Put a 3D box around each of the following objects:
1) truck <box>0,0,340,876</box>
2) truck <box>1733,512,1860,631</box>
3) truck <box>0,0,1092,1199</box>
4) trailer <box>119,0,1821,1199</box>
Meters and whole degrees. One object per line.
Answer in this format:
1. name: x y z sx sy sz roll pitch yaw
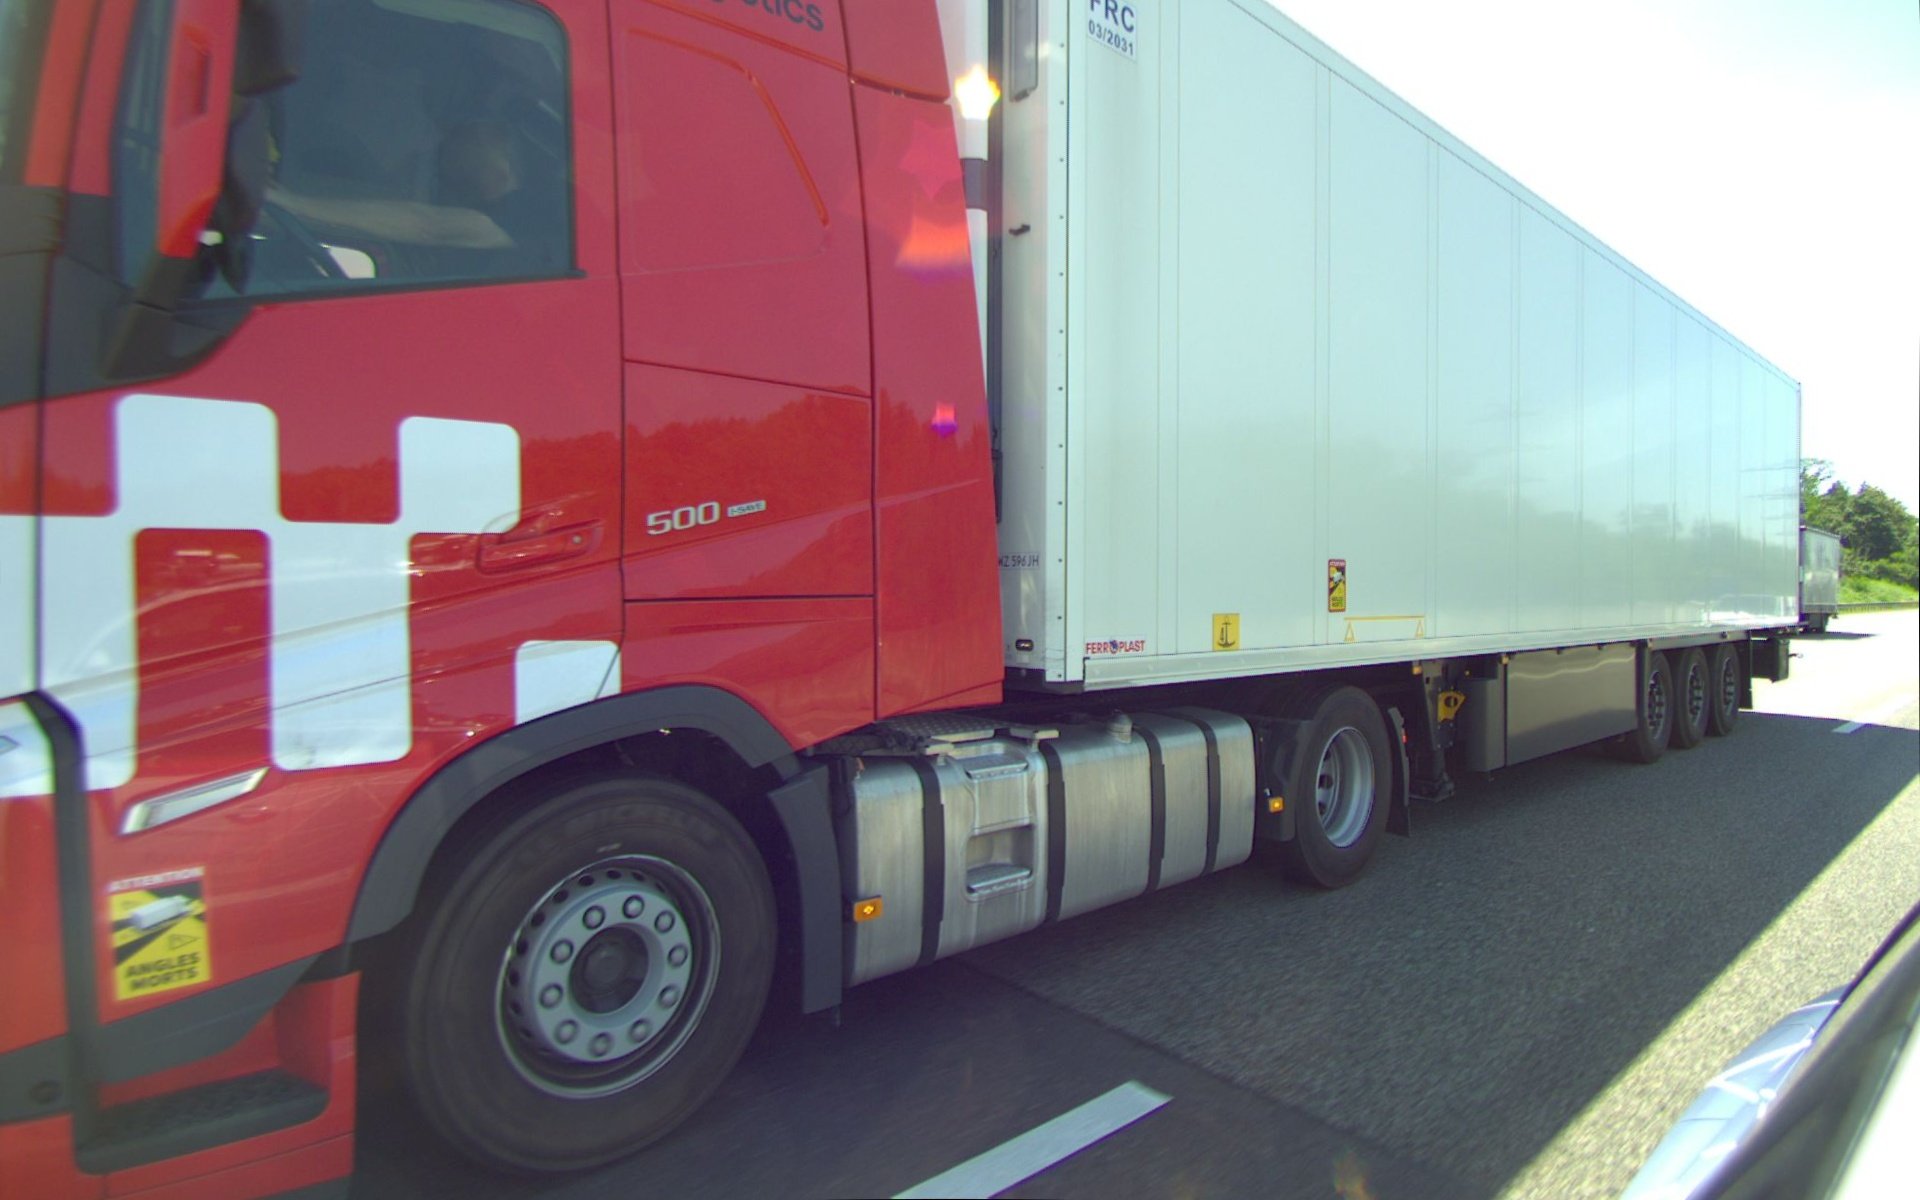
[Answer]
1. truck: -8.525 -0.751 3.307 10.784 4.144 3.031 -1 1 -40
2. truck: 30.417 -0.959 36.611 9.868 3.819 1.985 0 1 -41
3. truck: -2.754 -0.644 2.597 5.996 4.036 2.946 -1 1 -41
4. trailer: 3.576 -0.754 8.184 15.920 4.068 2.942 -1 1 -41
